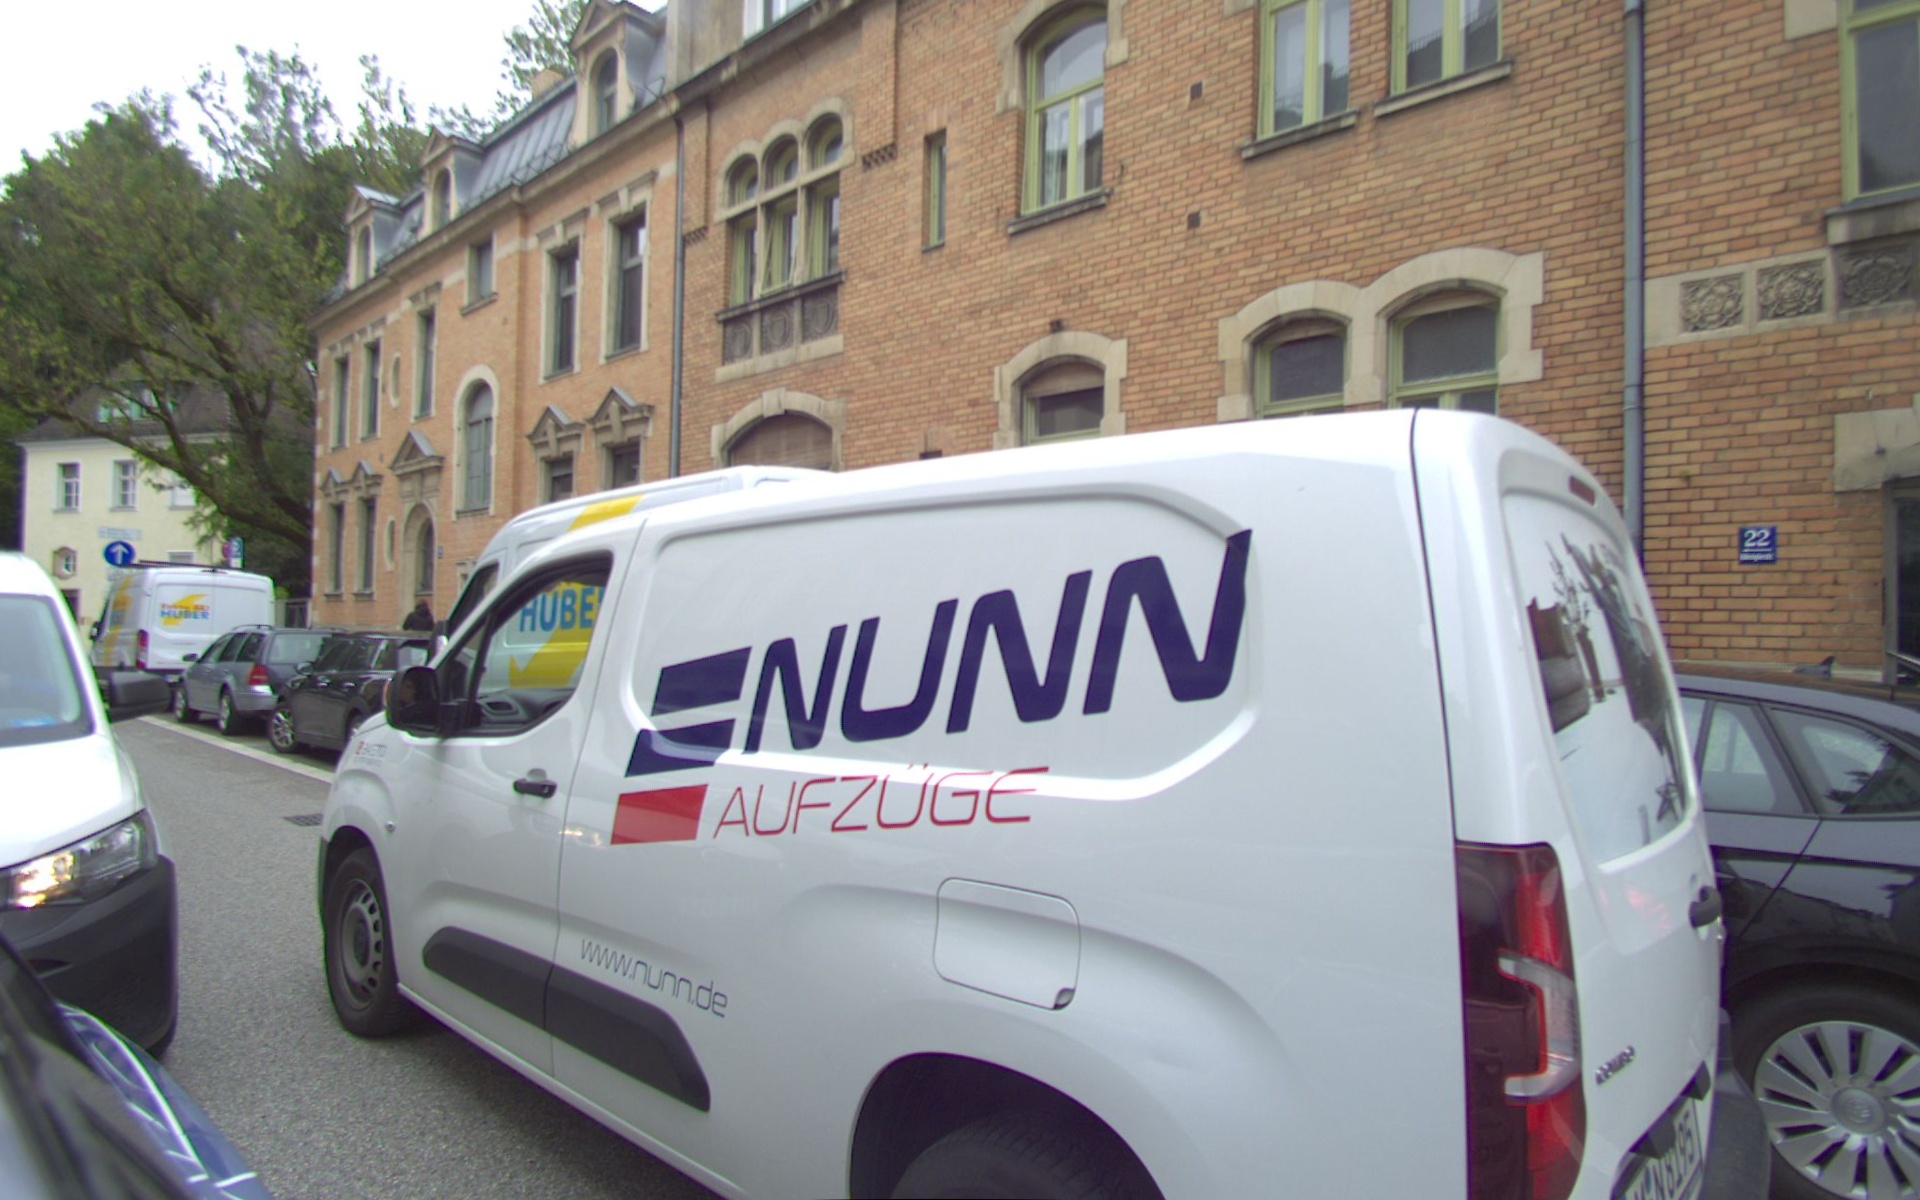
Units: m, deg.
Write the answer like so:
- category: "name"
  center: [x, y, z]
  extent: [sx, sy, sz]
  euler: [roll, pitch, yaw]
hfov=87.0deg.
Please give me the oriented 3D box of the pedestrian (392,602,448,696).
- category: "pedestrian"
  center: [-9.715, 0.883, 18.209]
  extent: [0.675, 1.645, 0.625]
  euler: [-1, -4, 42]

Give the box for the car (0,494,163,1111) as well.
- category: "car"
  center: [-4.583, 0.605, 3.923]
  extent: [4.000, 1.785, 1.752]
  euler: [-1, 0, 43]

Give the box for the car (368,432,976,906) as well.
- category: "car"
  center: [-2.513, 0.436, 7.826]
  extent: [5.221, 2.497, 1.960]
  euler: [-1, -4, 42]

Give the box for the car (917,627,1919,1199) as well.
- category: "car"
  center: [1.919, 0.869, 3.869]
  extent: [4.143, 1.454, 1.672]
  euler: [-1, -4, 42]

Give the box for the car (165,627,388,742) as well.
- category: "car"
  center: [-9.986, 1.148, 14.680]
  extent: [3.982, 1.454, 1.672]
  euler: [-1, -4, 41]

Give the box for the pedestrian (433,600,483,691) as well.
- category: "pedestrian"
  center: [-9.322, 0.851, 18.807]
  extent: [0.467, 1.645, 0.625]
  euler: [-1, -4, 42]

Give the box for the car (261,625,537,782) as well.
- category: "car"
  center: [-6.270, 1.040, 11.168]
  extent: [3.539, 1.454, 1.507]
  euler: [-1, -4, 41]

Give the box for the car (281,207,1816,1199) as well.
- category: "car"
  center: [-0.462, 0.623, 3.081]
  extent: [4.574, 1.817, 1.751]
  euler: [-1, -2, 44]

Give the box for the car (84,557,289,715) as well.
- category: "car"
  center: [-14.314, 0.716, 18.646]
  extent: [4.420, 2.560, 2.090]
  euler: [-2, -6, 42]
